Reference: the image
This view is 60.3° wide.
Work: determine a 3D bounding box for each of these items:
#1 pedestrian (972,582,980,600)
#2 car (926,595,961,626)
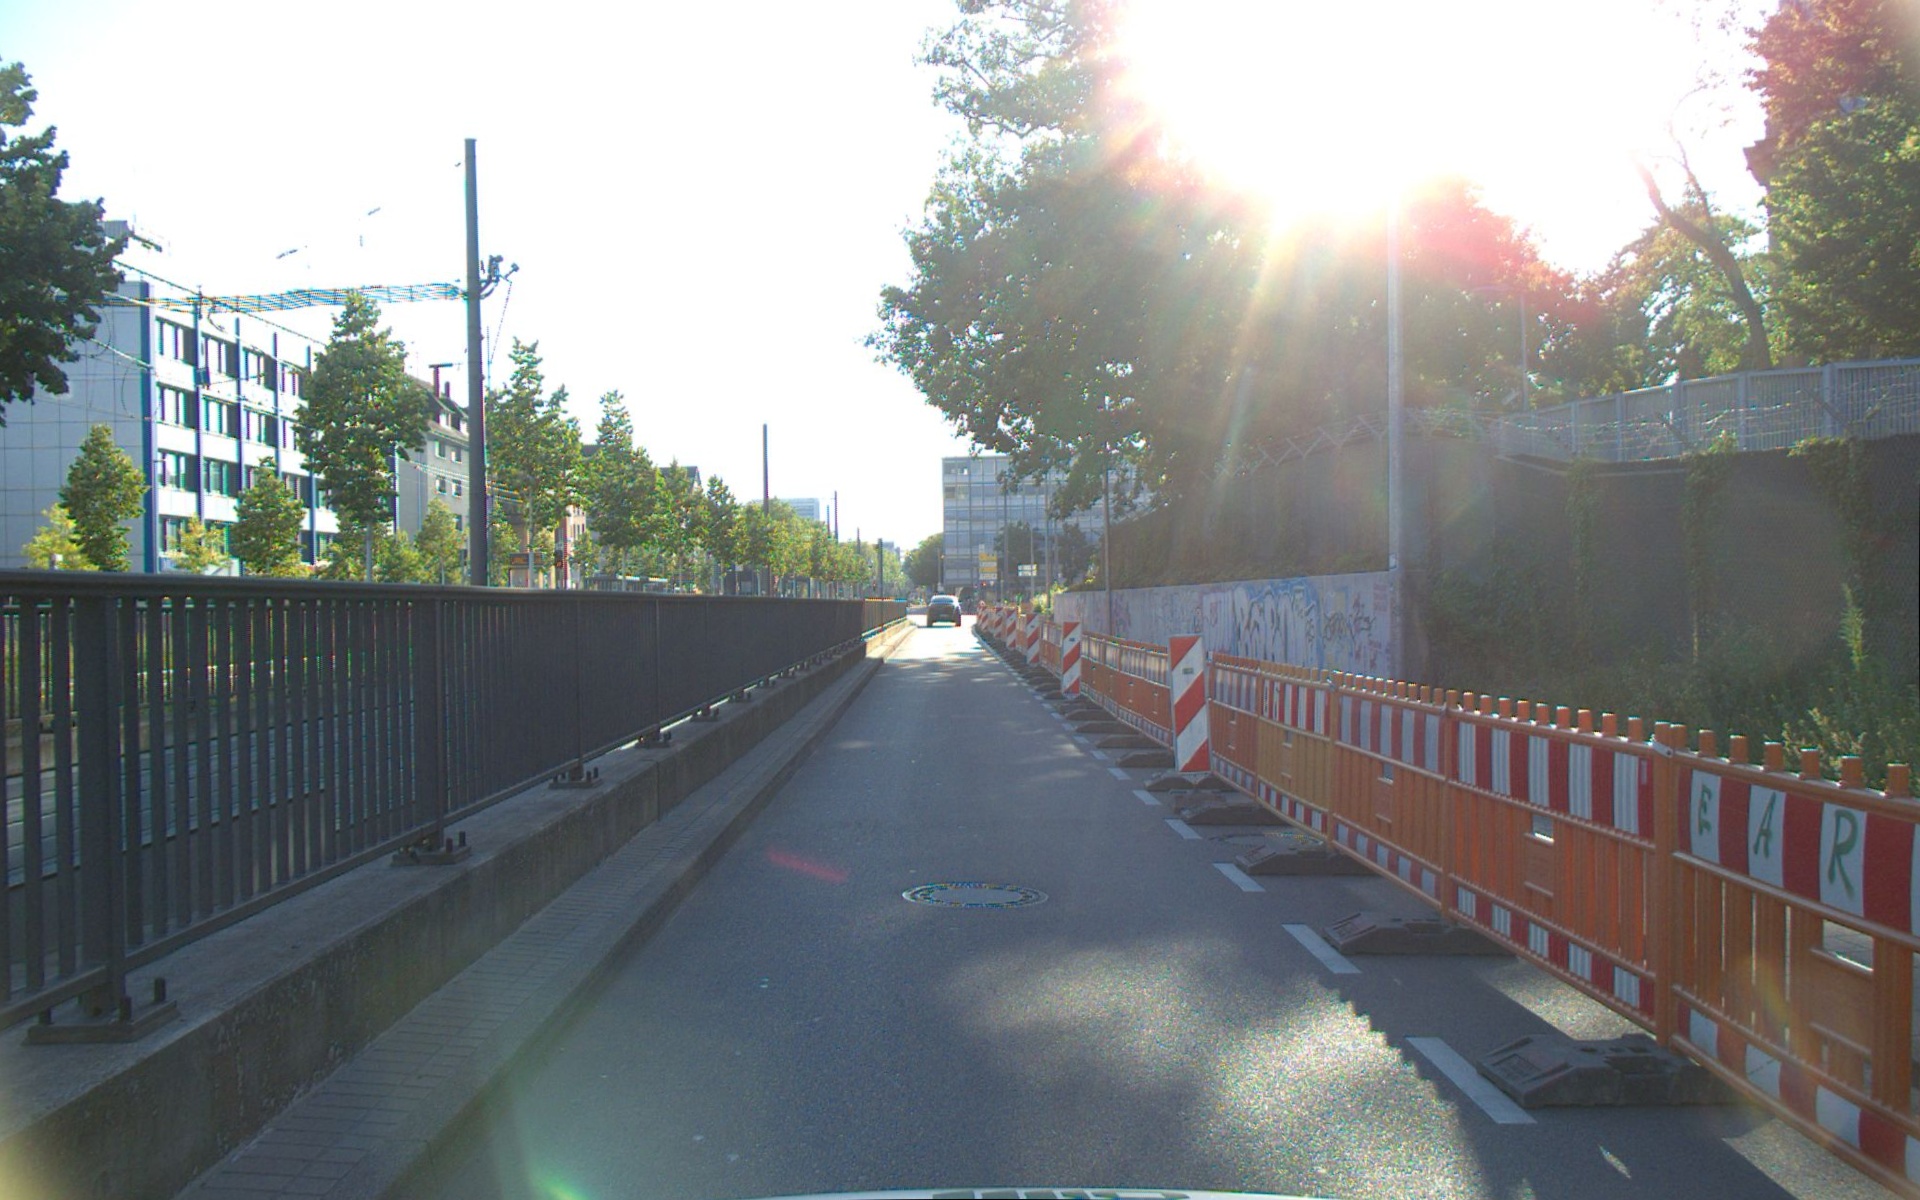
[{"bbox_3d":[1.976,-1.122,200.623,0.873,2.149,0.718,-1,1,4],"label":"pedestrian"},{"bbox_3d":[-0.926,0.607,95.818,1.964,1.688,4.000,1,0,0],"label":"car"}]
